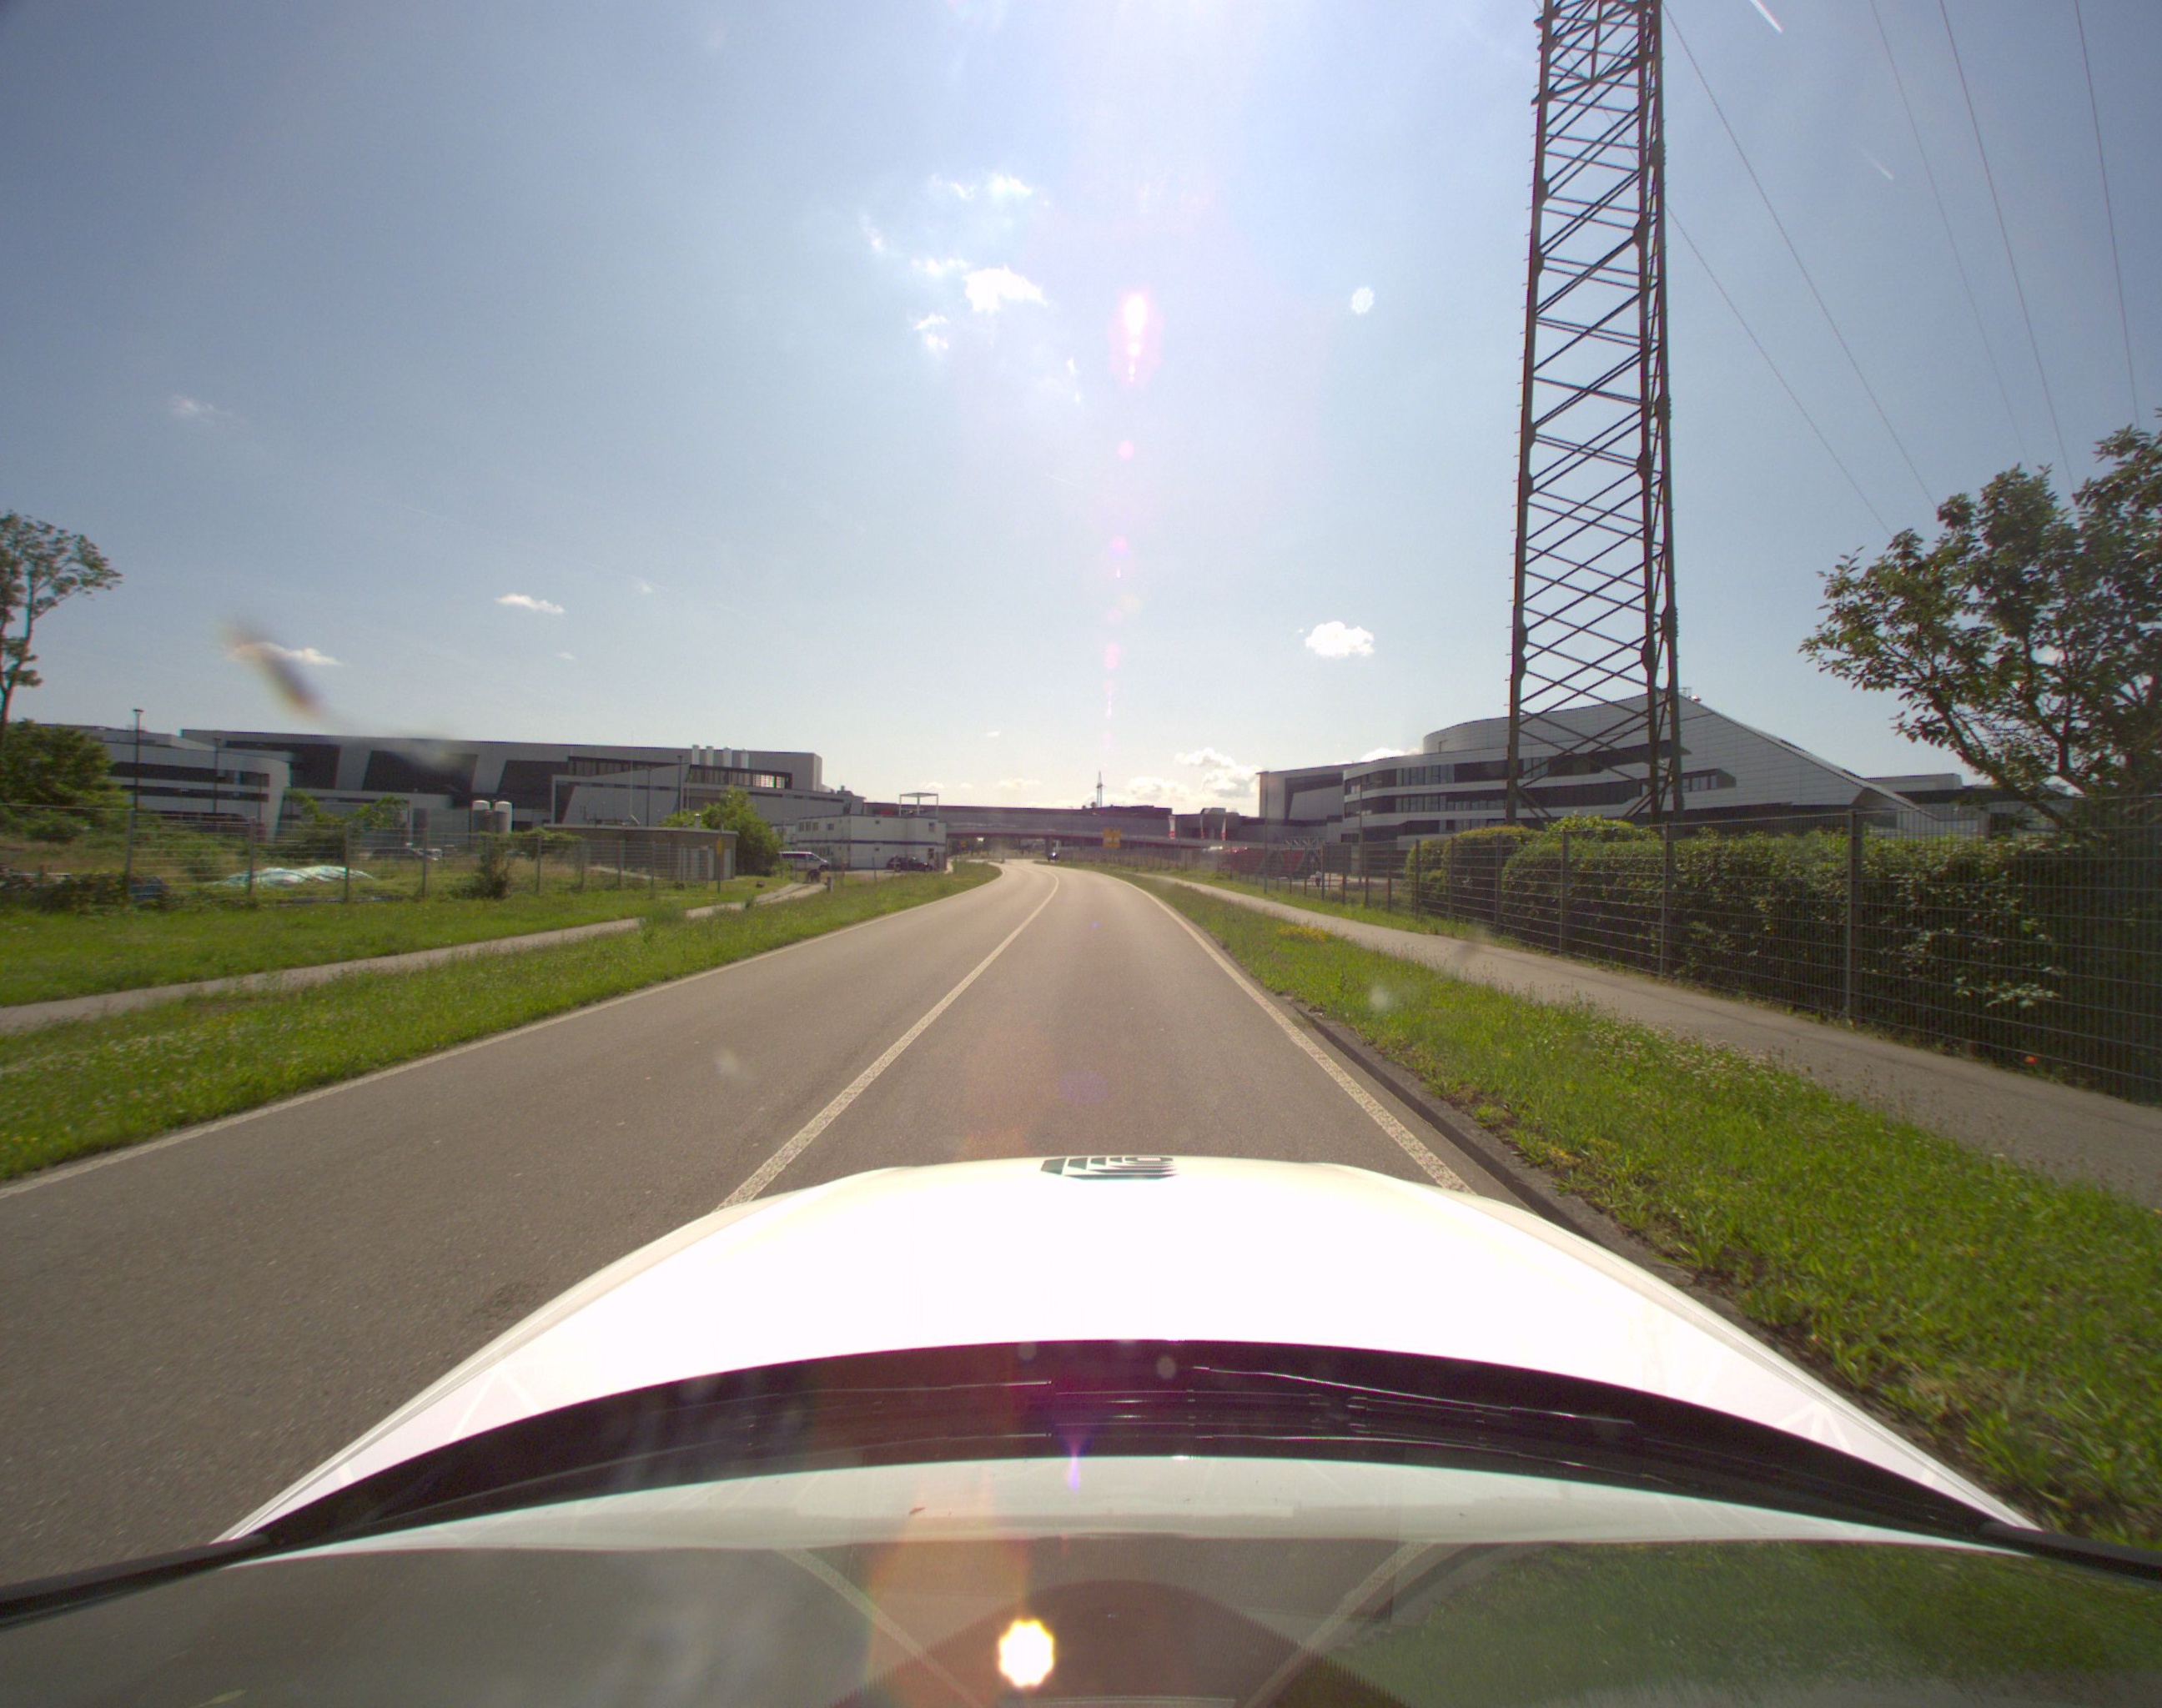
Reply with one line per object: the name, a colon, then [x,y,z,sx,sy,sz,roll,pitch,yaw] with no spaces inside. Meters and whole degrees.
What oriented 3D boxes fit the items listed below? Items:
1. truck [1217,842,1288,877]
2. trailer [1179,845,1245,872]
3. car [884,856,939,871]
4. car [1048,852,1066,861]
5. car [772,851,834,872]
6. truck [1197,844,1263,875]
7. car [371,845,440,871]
truck: [22.203,0.675,104.932,11.033,4.256,2.992,0,-1,-42]
trailer: [22.093,0.736,136.628,14.139,4.438,2.733,0,-1,-42]
car: [-16.225,0.909,77.982,4.982,1.417,1.988,1,0,-18]
car: [-4.364,0.499,146.611,1.978,1.544,4.018,-1,0,18]
car: [-25.974,0.686,76.170,5.045,1.866,1.977,1,0,-38]
truck: [20.974,0.698,113.983,11.032,4.172,2.789,0,-1,-41]
car: [-52.294,0.304,63.062,4.022,2.014,1.976,0,-1,-43]
